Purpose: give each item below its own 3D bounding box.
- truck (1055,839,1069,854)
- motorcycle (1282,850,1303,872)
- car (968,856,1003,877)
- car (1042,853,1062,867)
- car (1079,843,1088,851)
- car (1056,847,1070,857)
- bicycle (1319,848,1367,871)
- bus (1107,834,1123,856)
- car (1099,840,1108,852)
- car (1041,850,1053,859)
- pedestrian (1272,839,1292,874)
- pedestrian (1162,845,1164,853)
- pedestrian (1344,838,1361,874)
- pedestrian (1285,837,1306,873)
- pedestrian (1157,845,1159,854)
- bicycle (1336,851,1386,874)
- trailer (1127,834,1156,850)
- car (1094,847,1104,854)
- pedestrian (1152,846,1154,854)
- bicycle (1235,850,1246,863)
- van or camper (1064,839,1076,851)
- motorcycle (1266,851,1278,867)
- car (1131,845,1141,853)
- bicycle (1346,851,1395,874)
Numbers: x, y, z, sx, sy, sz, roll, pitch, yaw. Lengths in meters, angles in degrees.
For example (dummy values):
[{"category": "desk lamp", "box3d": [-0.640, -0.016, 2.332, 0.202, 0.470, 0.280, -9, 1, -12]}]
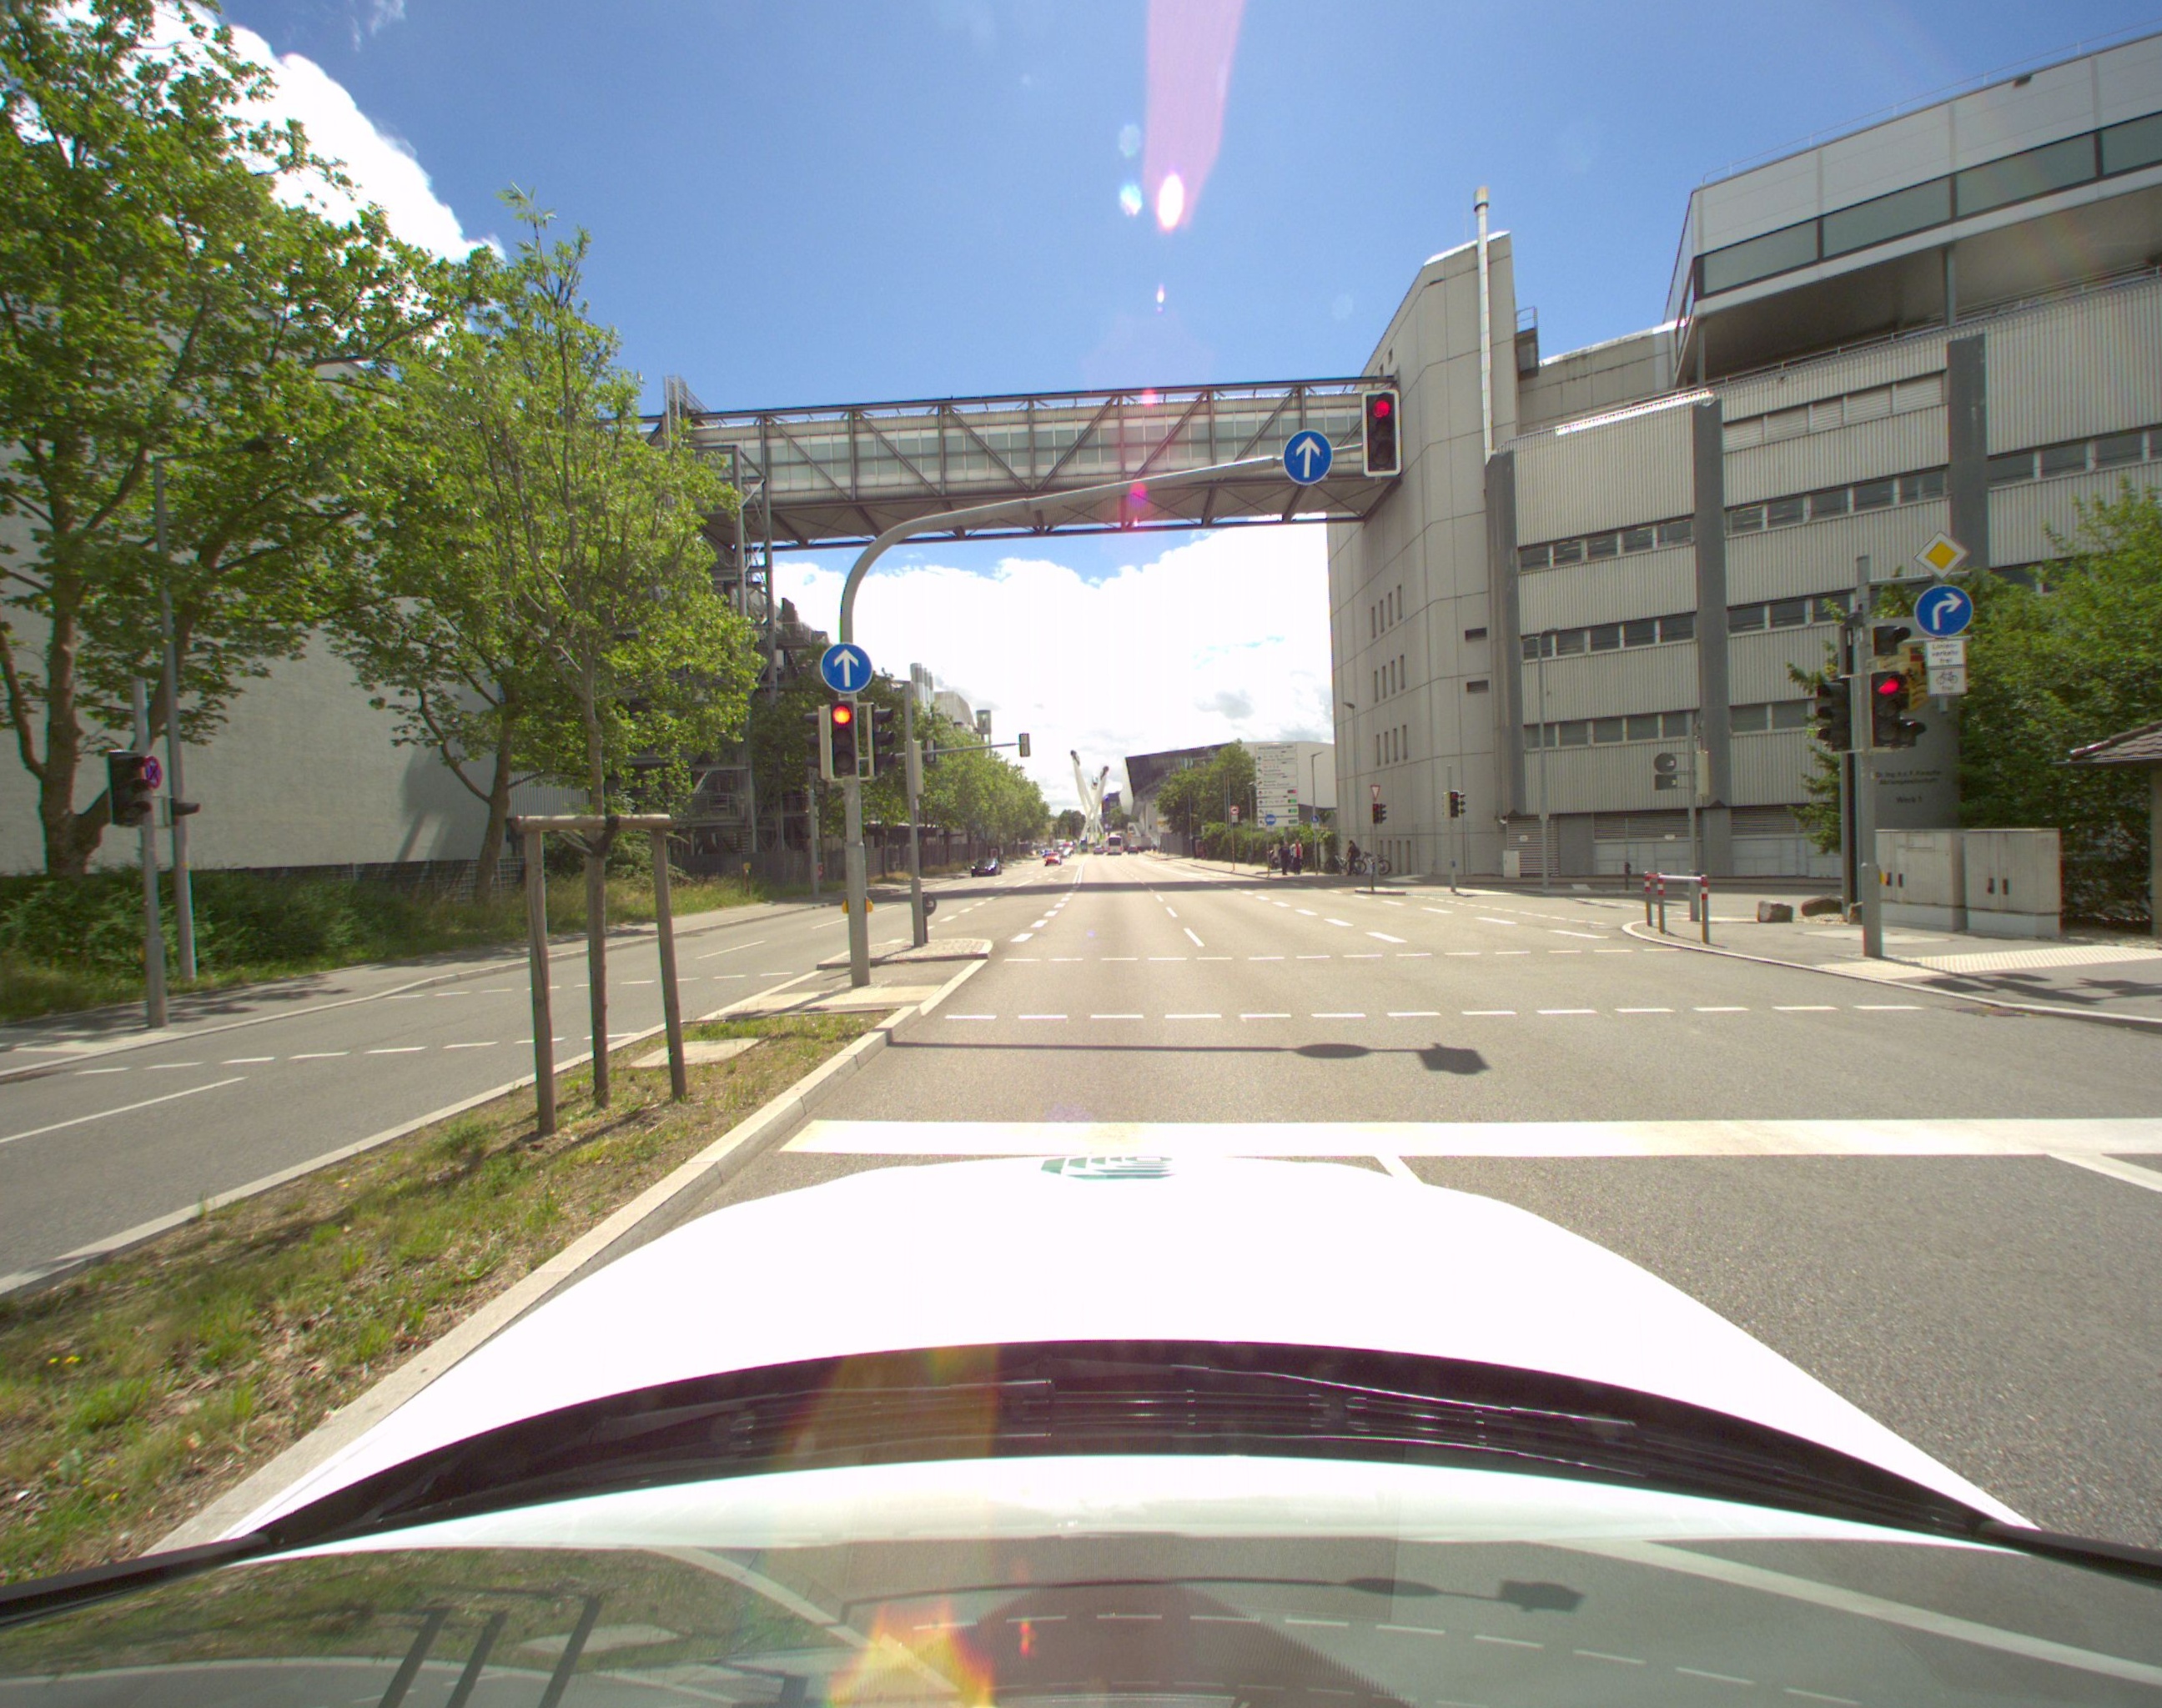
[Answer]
[{"category": "truck", "box3d": [-4.118, -1.646, 181.809, 2.581, 3.324, 7.083, 0, -1, 3]}, {"category": "motorcycle", "box3d": [11.649, 0.399, 44.892, 0.418, 1.166, 1.951, 0, -1, -9]}, {"category": "car", "box3d": [-7.503, 0.956, 64.647, 1.910, 1.488, 4.775, -4, 0, 3]}, {"category": "car", "box3d": [-3.157, 0.658, 88.957, 1.762, 1.420, 3.704, -4, 0, 3]}, {"category": "car", "box3d": [0.436, -1.313, 155.685, 1.551, 1.273, 3.704, -4, 0, 3]}, {"category": "car", "box3d": [-2.752, -0.299, 126.091, 1.762, 1.420, 3.704, -4, 0, 3]}, {"category": "bicycle", "box3d": [13.083, 0.281, 40.702, 2.196, 1.086, 0.480, -1, -1, 37]}, {"category": "bus", "box3d": [6.028, -1.541, 144.779, 2.776, 3.686, 6.947, 0, -1, 3]}, {"category": "car", "box3d": [4.774, -1.661, 171.386, 1.837, 2.624, 4.000, 0, -1, 0]}, {"category": "car", "box3d": [-6.022, 0.037, 144.837, 1.792, 1.574, 4.000, -1, 0, 0]}, {"category": "pedestrian", "box3d": [10.452, 0.121, 42.378, 0.642, 1.793, 0.709, -4, 0, -14]}, {"category": "pedestrian", "box3d": [13.935, -0.803, 138.386, 0.384, 1.421, 0.424, 0, -1, 2]}, {"category": "pedestrian", "box3d": [12.775, 0.096, 38.273, 0.650, 1.640, 0.538, -1, -1, 30]}, {"category": "pedestrian", "box3d": [11.152, 0.045, 42.422, 0.692, 1.793, 0.709, -4, 0, -14]}, {"category": "pedestrian", "box3d": [12.911, -0.741, 136.924, 0.384, 1.421, 0.424, 0, -1, 2]}, {"category": "bicycle", "box3d": [13.516, 0.404, 39.358, 2.196, 1.086, 0.480, -1, -1, 37]}, {"category": "trailer", "box3d": [12.821, -2.497, 172.098, 3.291, 2.995, 10.429, -1, -1, 21]}, {"category": "car", "box3d": [3.331, -0.650, 148.938, 1.551, 1.273, 3.704, -4, 0, 3]}, {"category": "pedestrian", "box3d": [12.194, -0.723, 138.001, 0.384, 1.421, 0.424, 0, -1, 2]}, {"category": "bicycle", "box3d": [12.723, 0.174, 65.127, 0.417, 1.022, 1.911, 0, -1, -2]}, {"category": "van or camper", "box3d": [-2.262, -1.761, 162.935, 2.038, 2.466, 5.598, -1, 0, 3]}, {"category": "motorcycle", "box3d": [12.173, 0.338, 51.869, 0.455, 1.022, 1.914, 0, -1, 4]}, {"category": "car", "box3d": [9.854, -0.847, 146.285, 1.551, 1.273, 3.704, -4, 0, 3]}, {"category": "bicycle", "box3d": [13.702, 0.397, 38.583, 2.166, 1.086, 0.480, -1, -1, 37]}]
